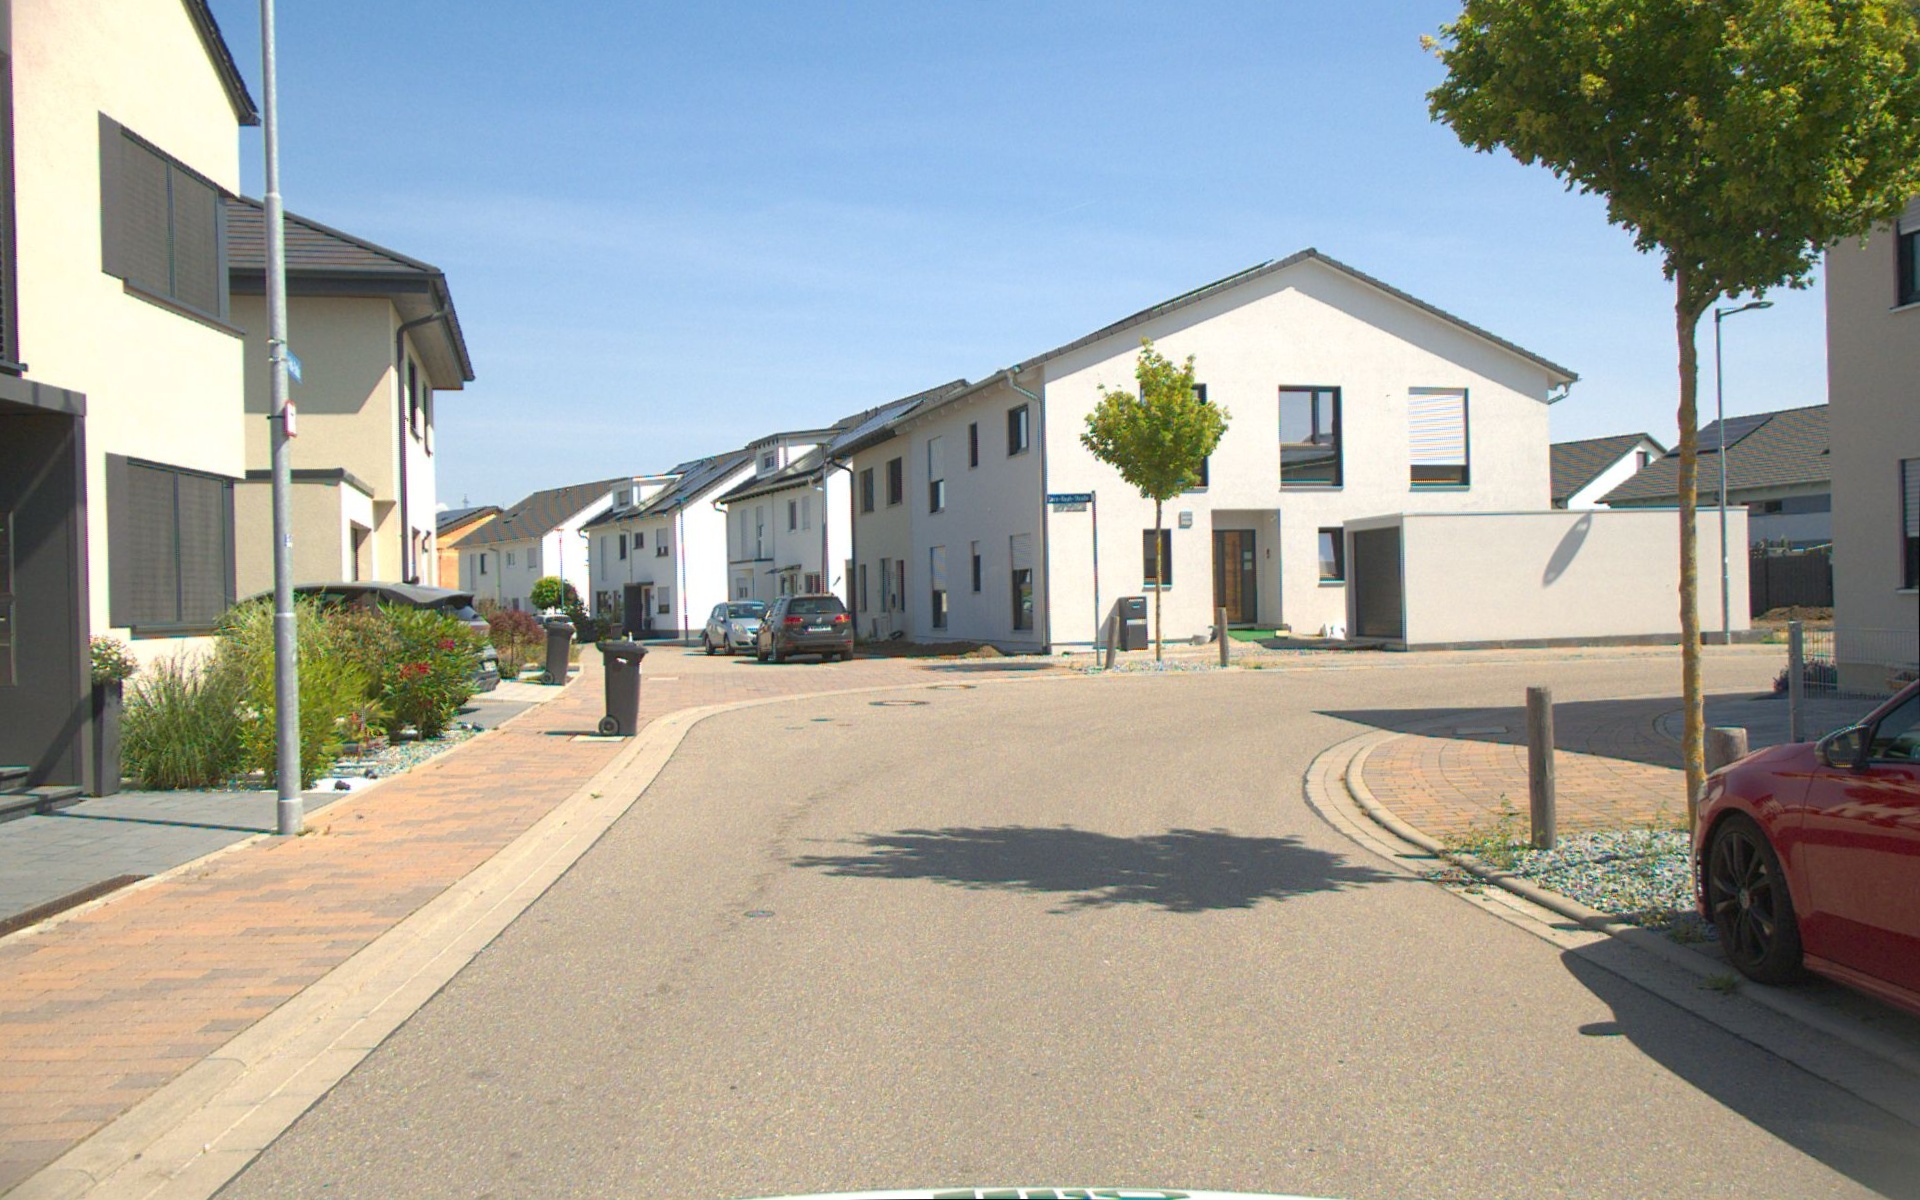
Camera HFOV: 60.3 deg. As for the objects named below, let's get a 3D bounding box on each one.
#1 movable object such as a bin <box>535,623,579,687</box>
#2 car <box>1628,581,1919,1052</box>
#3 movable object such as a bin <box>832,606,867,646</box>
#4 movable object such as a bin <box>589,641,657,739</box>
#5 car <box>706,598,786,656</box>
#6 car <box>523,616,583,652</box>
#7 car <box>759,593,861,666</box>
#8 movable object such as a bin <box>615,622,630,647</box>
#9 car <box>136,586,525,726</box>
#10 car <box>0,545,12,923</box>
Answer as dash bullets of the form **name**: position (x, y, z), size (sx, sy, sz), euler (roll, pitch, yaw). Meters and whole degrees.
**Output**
- **movable object such as a bin**: position (-6.131, 0.836, 25.188), size (0.604, 0.943, 0.422), euler (1, -1, -12)
- **car**: position (3.901, 0.669, 5.047), size (1.727, 1.463, 4.518), euler (-3, 0, -2)
- **movable object such as a bin**: position (-3.130, 0.718, 46.787), size (0.772, 1.068, 0.800), euler (-4, 1, -18)
- **movable object such as a bin**: position (-3.400, 0.905, 16.725), size (0.523, 0.952, 0.526), euler (0, 0, 8)
- **car**: position (-6.021, 0.733, 46.212), size (1.649, 1.489, 3.928), euler (-2, 0, -15)
- **car**: position (-19.370, 1.608, 78.548), size (1.761, 1.624, 3.961), euler (-2, 0, -29)
- **car**: position (-3.374, 0.623, 36.562), size (1.697, 1.447, 3.987), euler (-2, 0, -13)
- **movable object such as a bin**: position (-13.285, 1.341, 65.117), size (0.549, 0.965, 0.245), euler (-2, 0, -20)
- **car**: position (-7.361, 0.630, 19.601), size (3.905, 1.512, 1.754), euler (-1, 0, 0)
- **car**: position (-6.331, 0.550, 6.357), size (4.287, 1.660, 1.770), euler (1, 0, -2)
